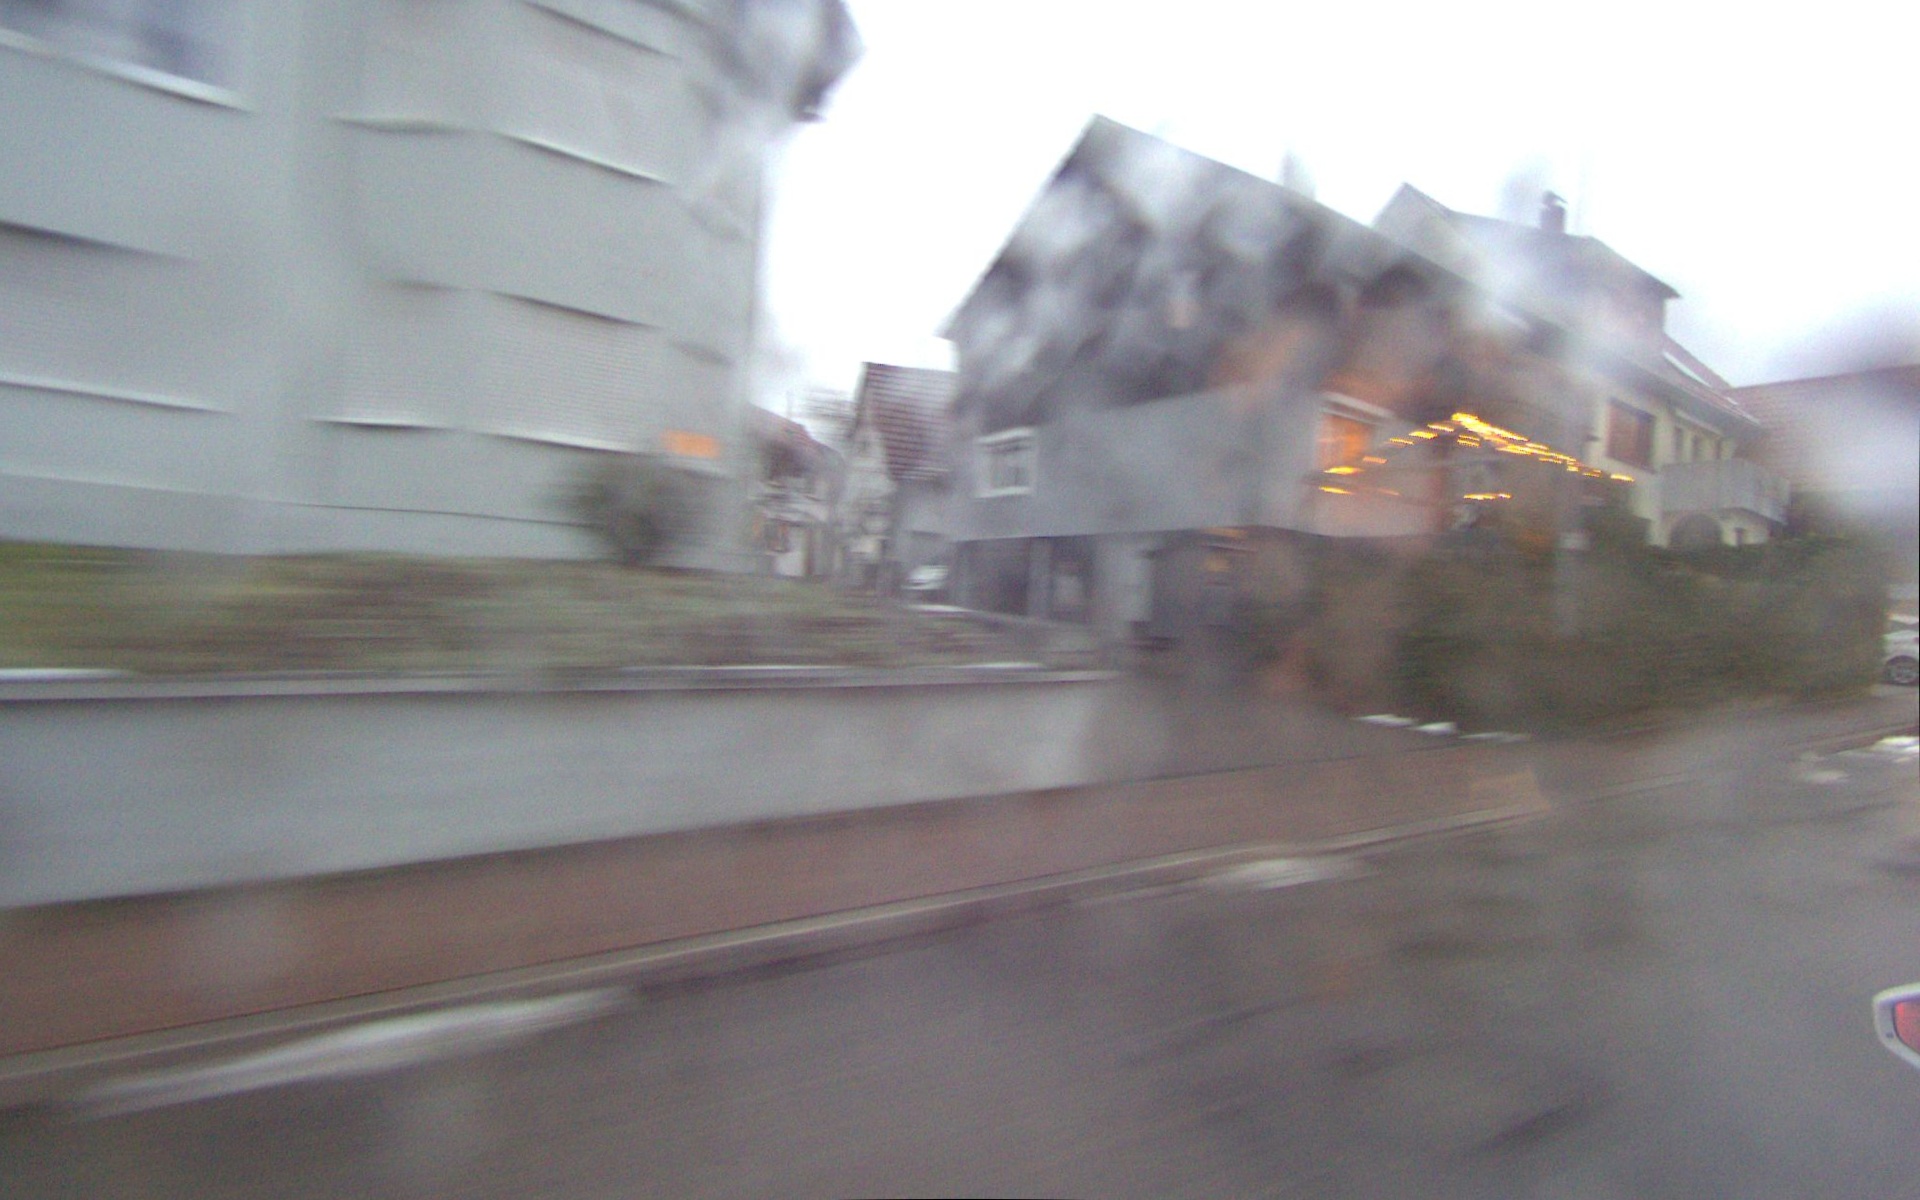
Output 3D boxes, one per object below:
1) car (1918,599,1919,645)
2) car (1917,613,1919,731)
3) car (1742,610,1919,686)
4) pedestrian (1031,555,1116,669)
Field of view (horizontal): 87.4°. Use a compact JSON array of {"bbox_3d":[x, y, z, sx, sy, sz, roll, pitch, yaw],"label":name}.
[{"bbox_3d":[35.922,0.814,34.529,1.865,1.639,3.970,0,0,-29],"label":"car"},{"bbox_3d":[13.834,0.999,12.804,3.619,1.457,1.609,5,-3,-33],"label":"car"},{"bbox_3d":[20.134,1.023,22.721,1.752,1.548,3.448,0,0,-29],"label":"car"},{"bbox_3d":[1.842,0.195,16.304,0.976,1.755,0.813,2,3,-29],"label":"pedestrian"}]
